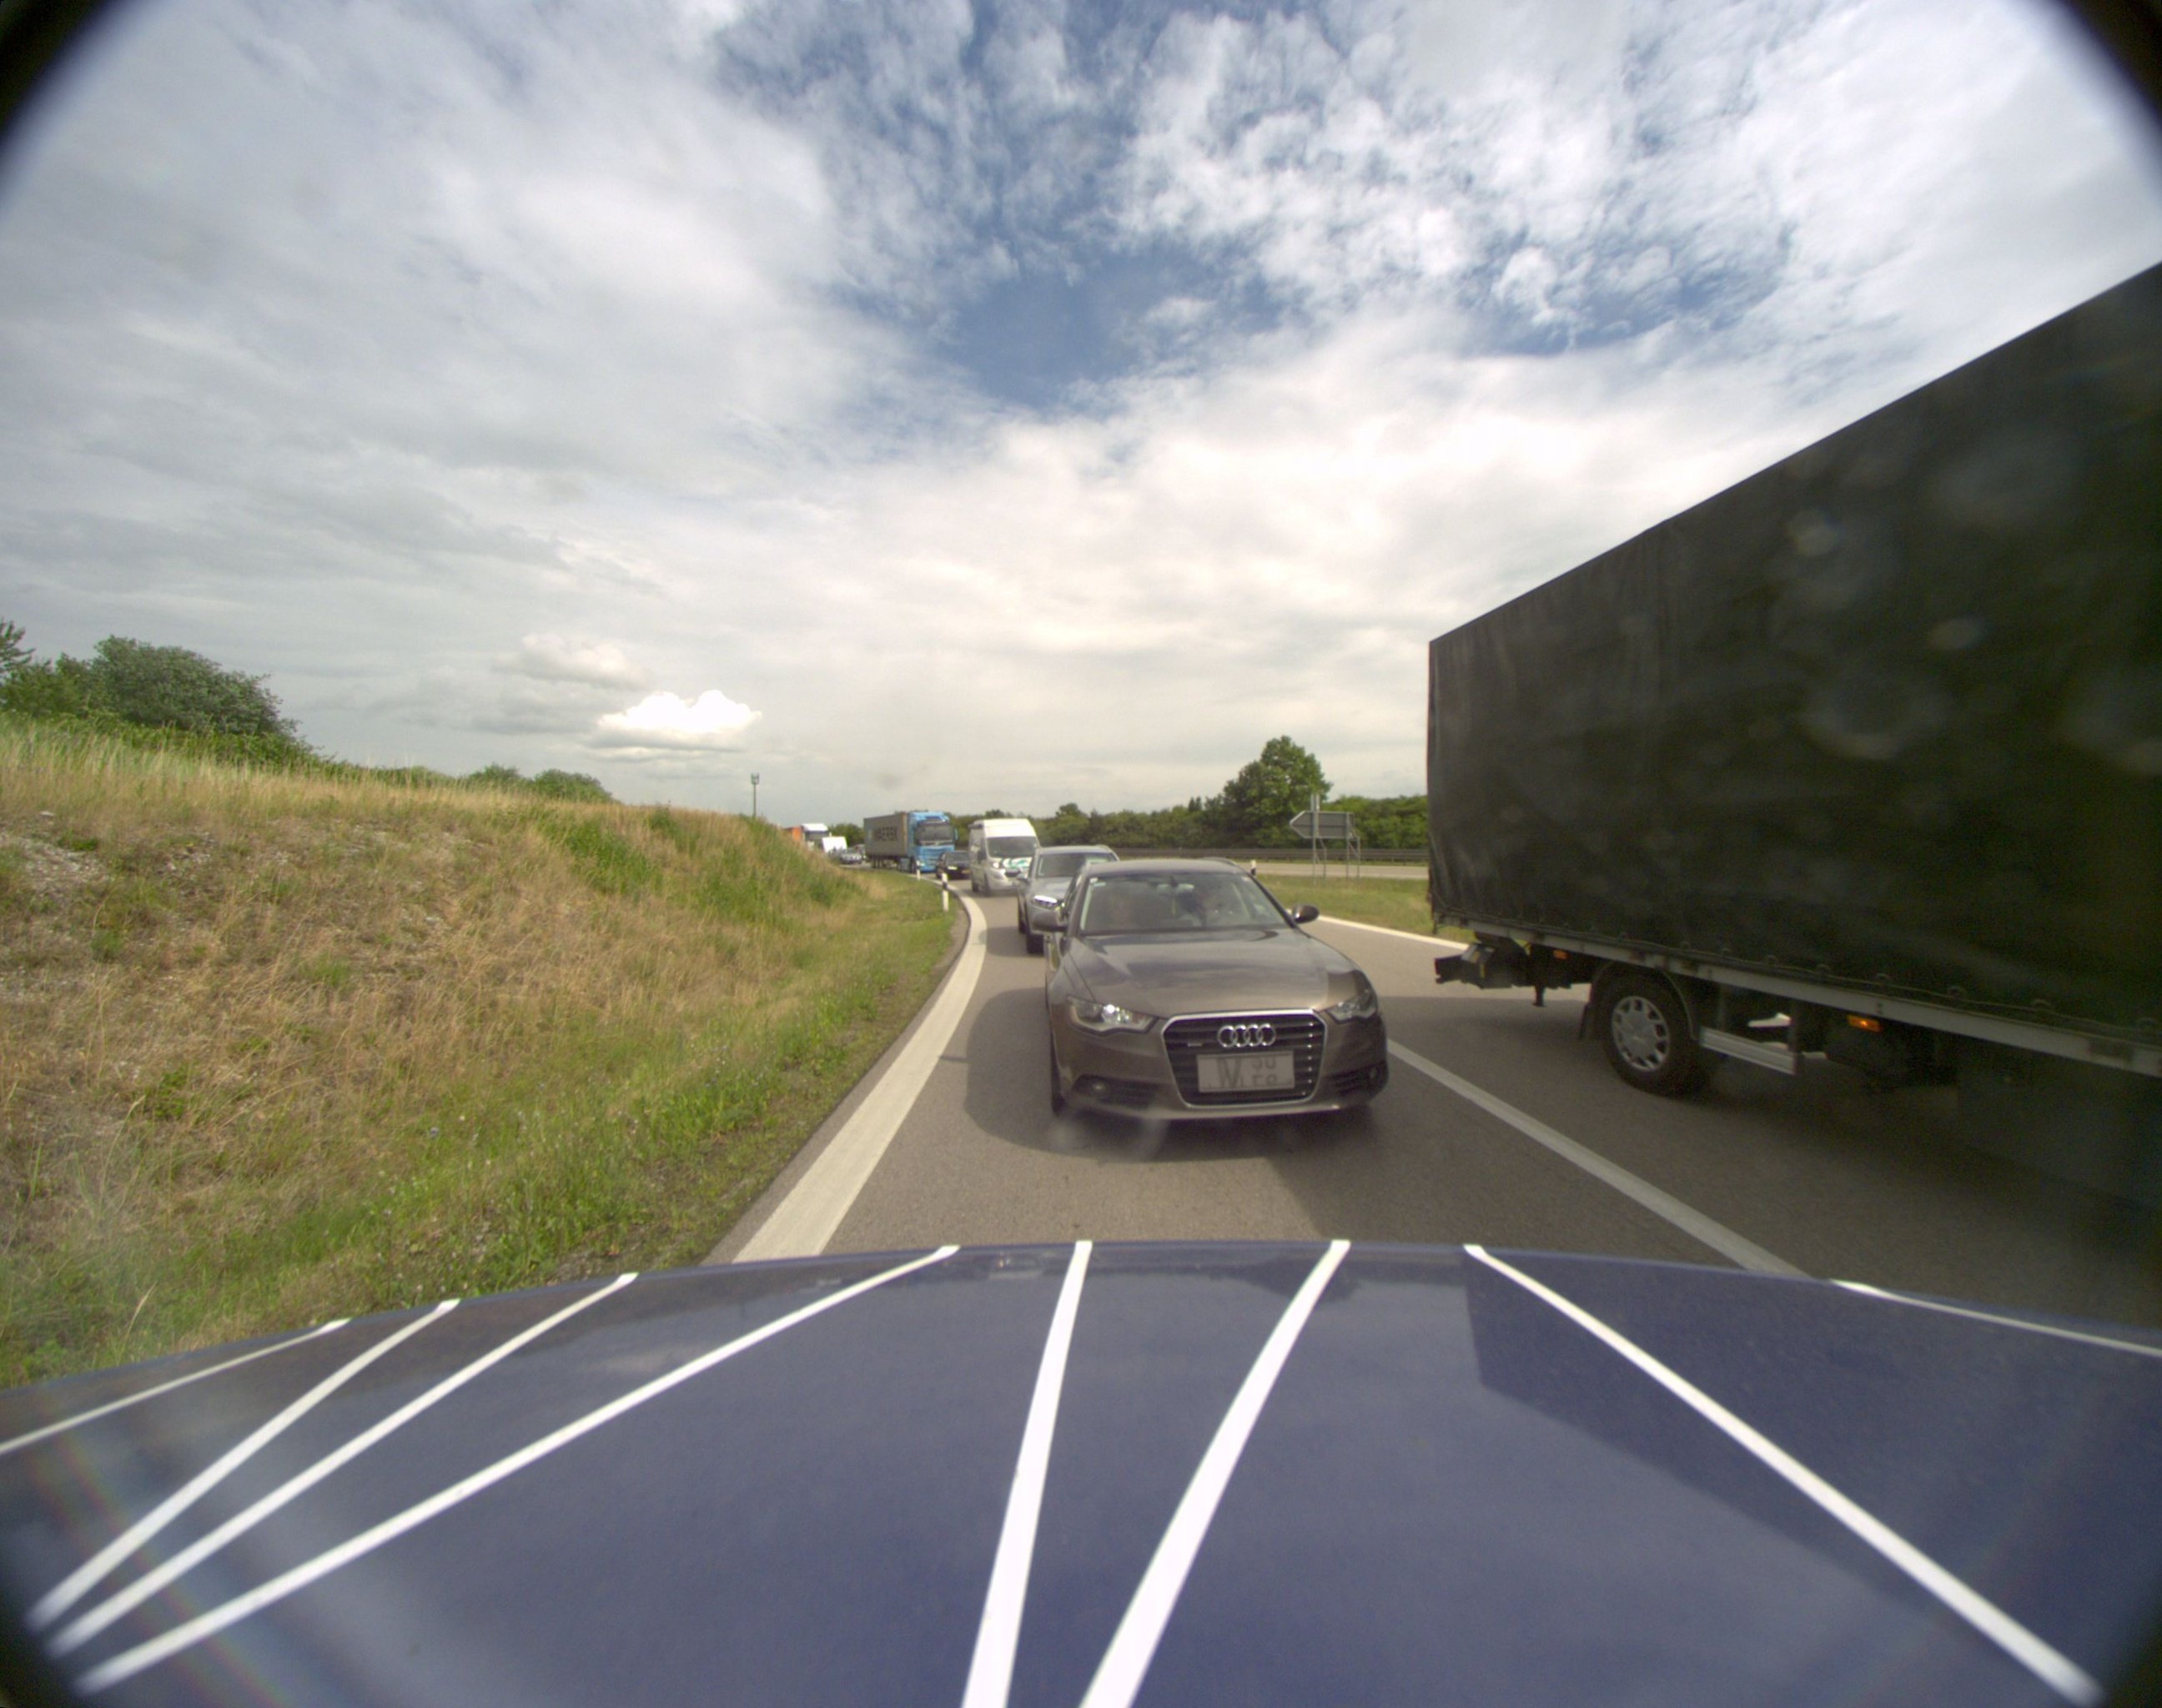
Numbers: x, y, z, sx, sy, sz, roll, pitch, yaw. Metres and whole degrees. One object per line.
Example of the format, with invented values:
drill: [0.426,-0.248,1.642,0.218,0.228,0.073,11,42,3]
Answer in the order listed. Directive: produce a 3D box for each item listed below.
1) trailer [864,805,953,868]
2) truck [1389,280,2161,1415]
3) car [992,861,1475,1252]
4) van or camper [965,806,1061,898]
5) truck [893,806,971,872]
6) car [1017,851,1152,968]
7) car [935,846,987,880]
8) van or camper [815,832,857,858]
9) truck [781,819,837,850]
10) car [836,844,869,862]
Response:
trailer: [-13.121,-1.149,56.613,3.280,4.137,11.990,-3,1,-28]
truck: [4.235,-0.045,3.112,2.567,3.149,7.465,-2,1,-3]
car: [0.628,0.875,5.467,1.999,1.505,4.537,-2,1,-1]
van or camper: [-2.611,-0.093,27.518,2.400,2.892,5.713,-2,1,-15]
truck: [-10.006,-0.950,50.471,3.184,4.049,6.632,-3,1,-27]
car: [-0.121,0.779,12.878,1.843,1.587,4.171,-1,1,-6]
car: [-6.325,0.412,39.734,2.002,1.609,3.992,-1,1,-19]
van or camper: [-23.907,-0.926,74.024,2.557,2.200,5.693,-3,5,-31]
truck: [-30.468,-2.100,84.789,3.131,3.220,11.131,-2,1,-34]
car: [-20.667,-0.121,68.774,2.003,1.521,3.990,-2,2,-29]
